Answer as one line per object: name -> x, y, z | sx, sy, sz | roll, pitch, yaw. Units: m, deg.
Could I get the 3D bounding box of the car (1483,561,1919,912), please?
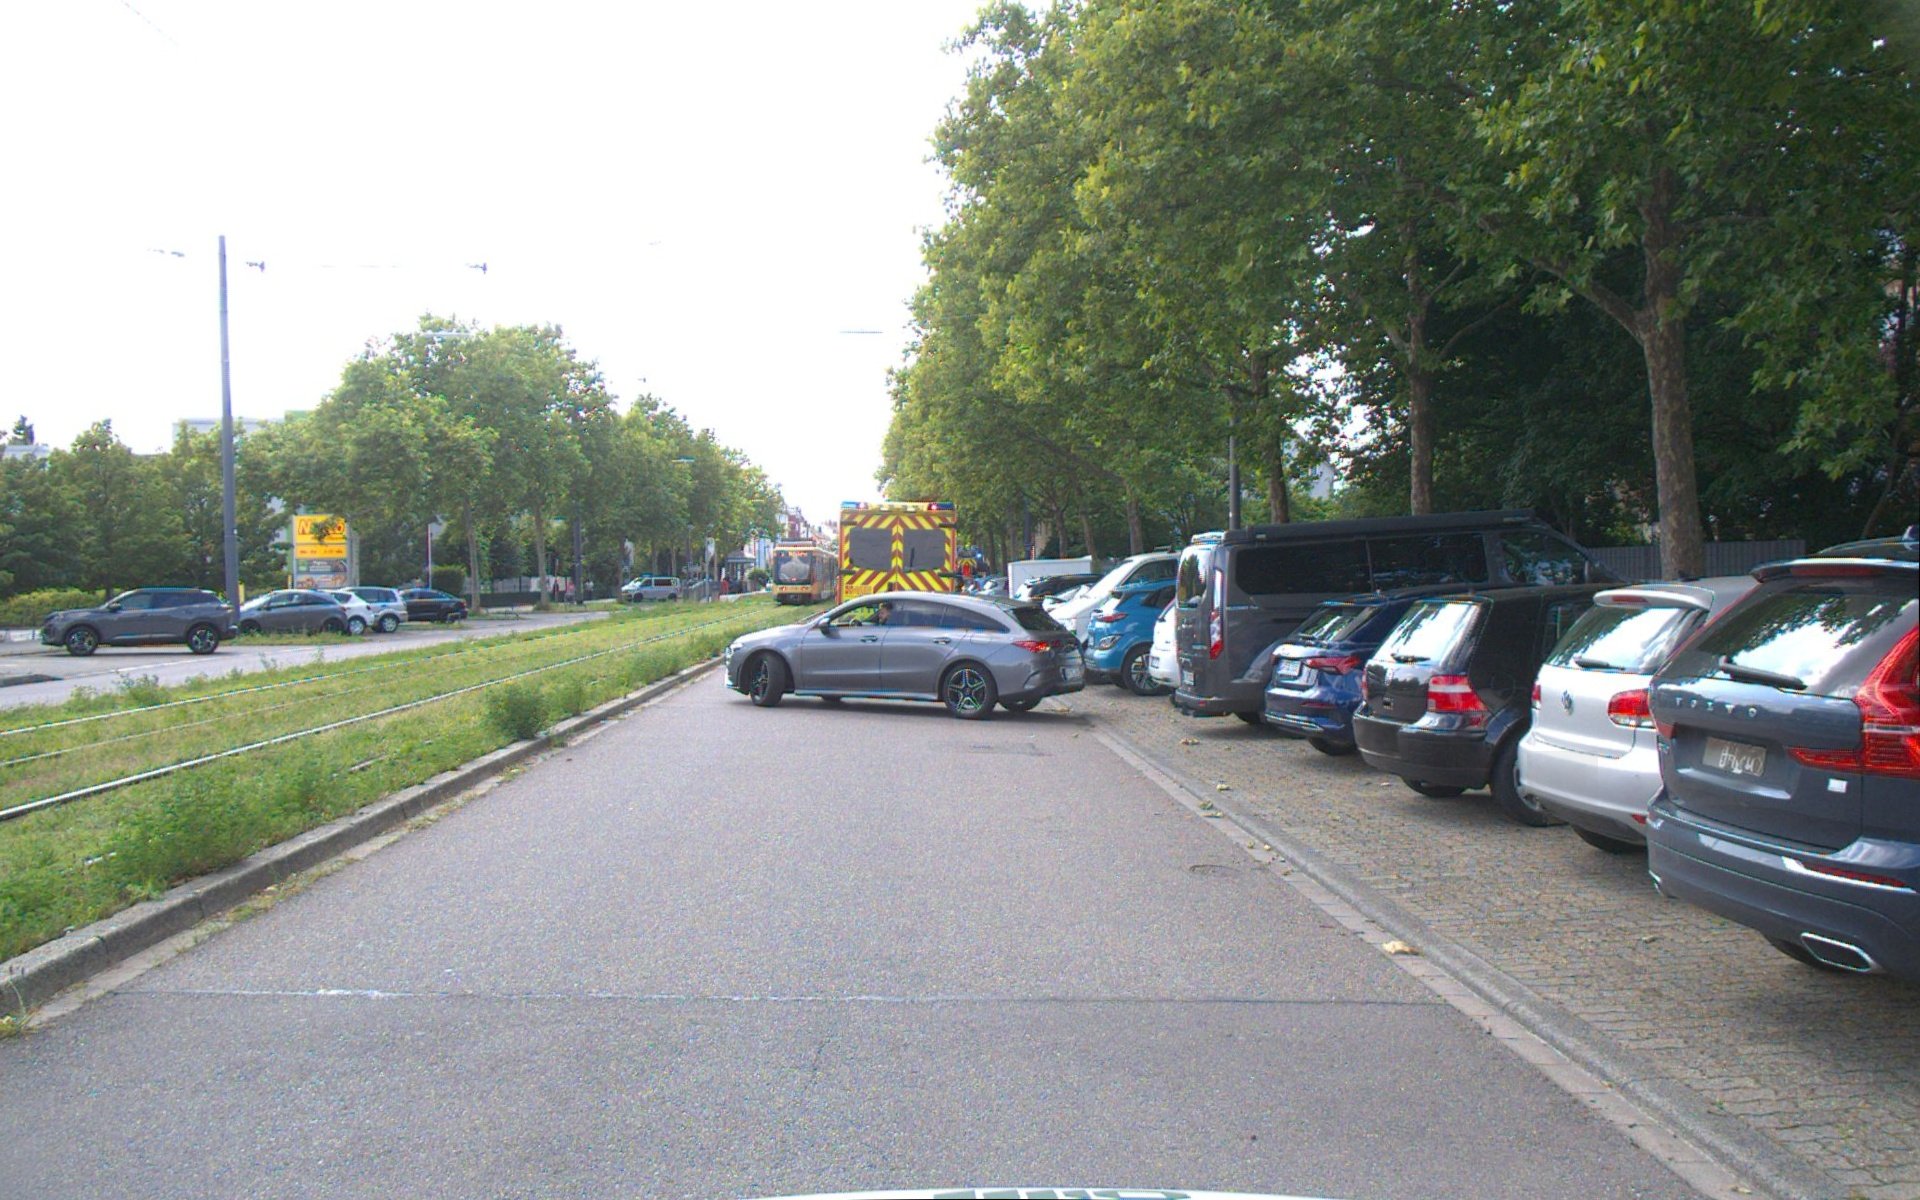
car -> 4.887, 0.568, 8.373 | 3.886, 1.520, 1.755 | -2, 1, -3

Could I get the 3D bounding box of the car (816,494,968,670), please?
car -> -1.235, -0.347, 32.420 | 2.588, 3.018, 6.298 | 2, 0, -1

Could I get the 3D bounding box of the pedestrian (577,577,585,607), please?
pedestrian -> -22.498, -0.459, 98.207 | 0.413, 1.760, 0.467 | -1, 0, -7

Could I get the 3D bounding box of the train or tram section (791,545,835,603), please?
train or tram section -> -9.825, -1.668, 110.896 | 2.462, 3.646, 7.441 | -2, 0, -3

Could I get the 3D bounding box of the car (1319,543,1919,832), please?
car -> 4.596, 0.492, 11.090 | 3.897, 1.633, 1.750 | -2, 1, -13

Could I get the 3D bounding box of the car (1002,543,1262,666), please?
car -> 3.122, 0.061, 30.580 | 4.458, 2.079, 1.853 | -2, 0, -6

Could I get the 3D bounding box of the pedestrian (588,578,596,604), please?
pedestrian -> -26.762, -0.680, 120.200 | 0.457, 1.860, 0.422 | -1, 0, -4

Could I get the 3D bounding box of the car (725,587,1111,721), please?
car -> -0.518, 0.598, 20.209 | 4.363, 1.409, 1.766 | 1, 0, 23

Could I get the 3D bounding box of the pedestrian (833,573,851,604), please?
pedestrian -> -6.033, -0.584, 84.615 | 0.863, 1.552, 0.750 | 1, 0, -3

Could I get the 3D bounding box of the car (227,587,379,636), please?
car -> -21.002, 0.345, 52.914 | 4.192, 1.508, 1.858 | 0, 0, -38

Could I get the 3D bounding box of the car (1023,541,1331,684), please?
car -> 3.349, 0.173, 25.994 | 4.458, 2.035, 1.853 | -2, 0, -6

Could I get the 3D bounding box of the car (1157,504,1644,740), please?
car -> 4.415, 0.199, 17.024 | 4.455, 2.160, 1.855 | -2, 0, -3

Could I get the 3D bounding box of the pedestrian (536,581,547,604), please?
pedestrian -> -28.393, -0.499, 112.147 | 0.620, 1.578, 0.621 | -1, 0, -5

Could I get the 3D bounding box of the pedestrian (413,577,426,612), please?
pedestrian -> -26.466, -0.271, 81.035 | 0.457, 1.706, 0.603 | -1, 0, -4

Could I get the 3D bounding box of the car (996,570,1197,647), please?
car -> 3.192, 0.191, 39.218 | 4.458, 1.636, 1.853 | -2, 1, -6

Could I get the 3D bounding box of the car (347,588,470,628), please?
car -> -21.356, 0.289, 64.135 | 4.199, 1.508, 1.854 | 0, 0, -42

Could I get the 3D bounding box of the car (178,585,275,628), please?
car -> -32.394, 0.251, 73.030 | 3.912, 1.780, 1.997 | 2, 1, 29

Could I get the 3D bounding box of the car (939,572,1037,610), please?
car -> 1.299, -0.426, 78.800 | 4.458, 1.636, 1.853 | -2, 1, -6

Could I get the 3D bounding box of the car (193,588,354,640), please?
car -> -20.720, 0.403, 50.001 | 4.192, 1.508, 1.858 | 0, 0, -38

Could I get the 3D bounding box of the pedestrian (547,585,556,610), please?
pedestrian -> -25.264, -0.156, 102.265 | 0.413, 1.499, 0.467 | -1, 0, -7

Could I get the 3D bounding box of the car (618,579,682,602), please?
car -> -24.059, -0.741, 128.584 | 4.588, 1.661, 1.855 | -2, 1, -42

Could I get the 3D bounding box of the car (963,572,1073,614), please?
car -> 2.453, -0.300, 70.611 | 4.458, 1.636, 1.853 | -2, 1, -6

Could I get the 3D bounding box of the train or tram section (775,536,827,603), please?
train or tram section -> -9.174, -1.709, 96.029 | 2.462, 3.646, 7.441 | -2, 0, -3

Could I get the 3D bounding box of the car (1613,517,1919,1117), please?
car -> 4.681, 0.533, 5.517 | 4.292, 1.668, 1.756 | -2, 1, -1

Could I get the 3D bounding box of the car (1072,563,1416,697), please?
car -> 3.967, 0.389, 23.483 | 4.459, 1.689, 1.853 | -2, 1, -7

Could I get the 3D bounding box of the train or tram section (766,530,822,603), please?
train or tram section -> -8.837, -1.729, 88.607 | 2.462, 3.646, 7.441 | -2, 0, -3

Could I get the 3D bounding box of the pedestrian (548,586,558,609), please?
pedestrian -> -25.595, -0.180, 104.082 | 0.412, 1.439, 0.467 | -1, 0, 22

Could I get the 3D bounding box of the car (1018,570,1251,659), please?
car -> 3.540, 0.269, 34.073 | 4.458, 1.636, 1.853 | -2, 1, -6

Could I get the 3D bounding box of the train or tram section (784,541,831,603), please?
train or tram section -> -9.503, -1.688, 103.463 | 2.462, 3.646, 7.441 | -2, 0, -3

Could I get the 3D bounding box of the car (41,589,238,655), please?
car -> -19.750, 0.506, 39.921 | 4.171, 1.508, 1.867 | 0, 0, -27

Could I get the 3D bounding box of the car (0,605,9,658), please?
car -> -31.101, 0.932, 49.767 | 3.905, 1.592, 1.777 | 1, 0, 0

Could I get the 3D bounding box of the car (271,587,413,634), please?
car -> -20.877, 0.338, 55.946 | 4.192, 1.508, 1.858 | 0, 0, -38

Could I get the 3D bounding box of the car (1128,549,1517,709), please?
car -> 4.506, 0.335, 20.972 | 4.455, 1.797, 1.855 | -2, 1, -3

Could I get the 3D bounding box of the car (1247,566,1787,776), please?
car -> 4.537, 0.548, 13.837 | 3.886, 1.520, 1.755 | -2, 0, -3

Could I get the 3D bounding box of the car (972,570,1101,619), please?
car -> 2.779, -0.199, 60.769 | 4.458, 1.636, 1.853 | -2, 1, -6
